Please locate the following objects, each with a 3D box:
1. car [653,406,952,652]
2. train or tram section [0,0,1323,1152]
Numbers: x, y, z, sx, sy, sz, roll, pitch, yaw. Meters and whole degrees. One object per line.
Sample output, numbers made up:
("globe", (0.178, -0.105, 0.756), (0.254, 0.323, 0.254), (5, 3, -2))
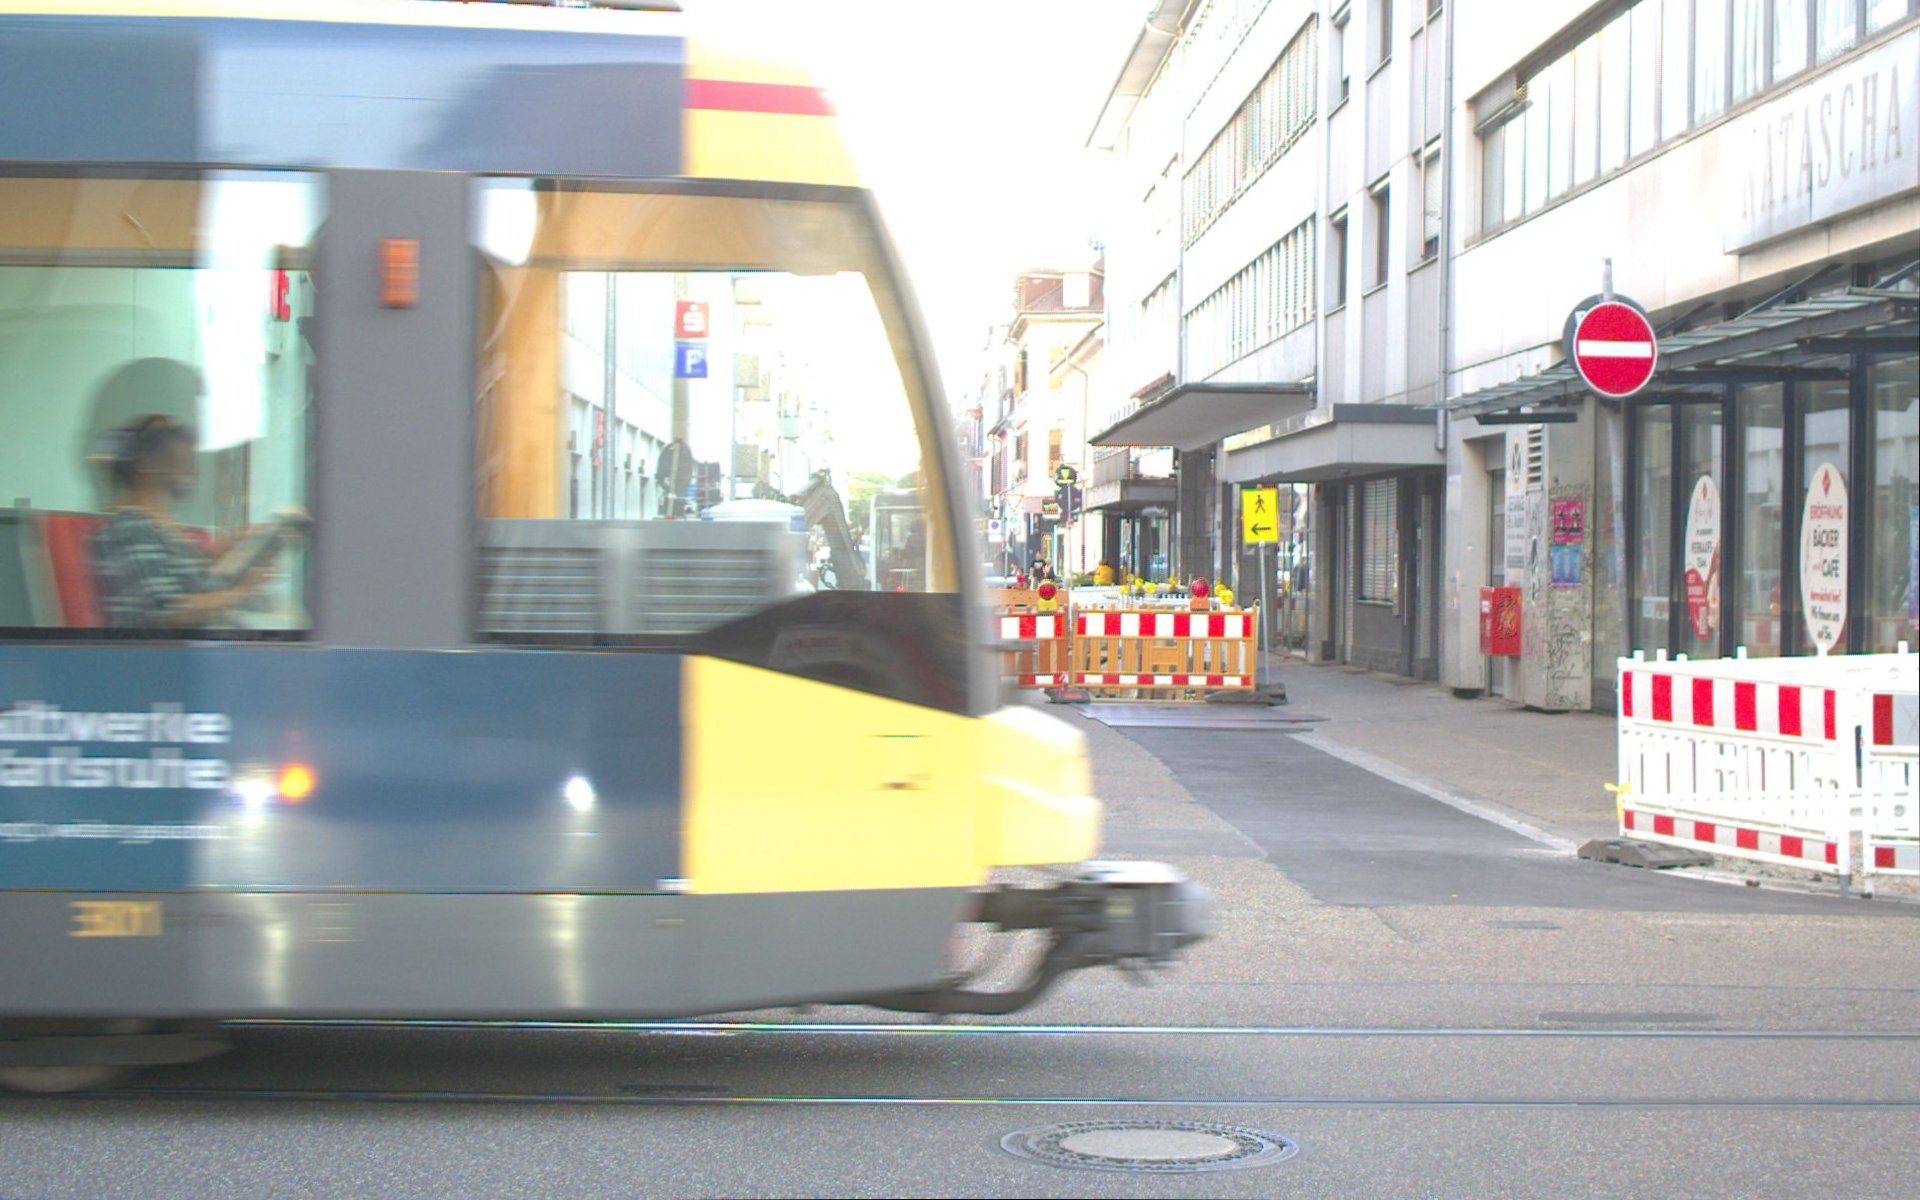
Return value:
("car", (-1.039, -0.480, 24.600), (1.897, 1.607, 4.152), (0, 0, 1))
("train or tram section", (-4.270, -0.373, 10.321), (10.335, 3.511, 3.027), (0, 0, -1))
